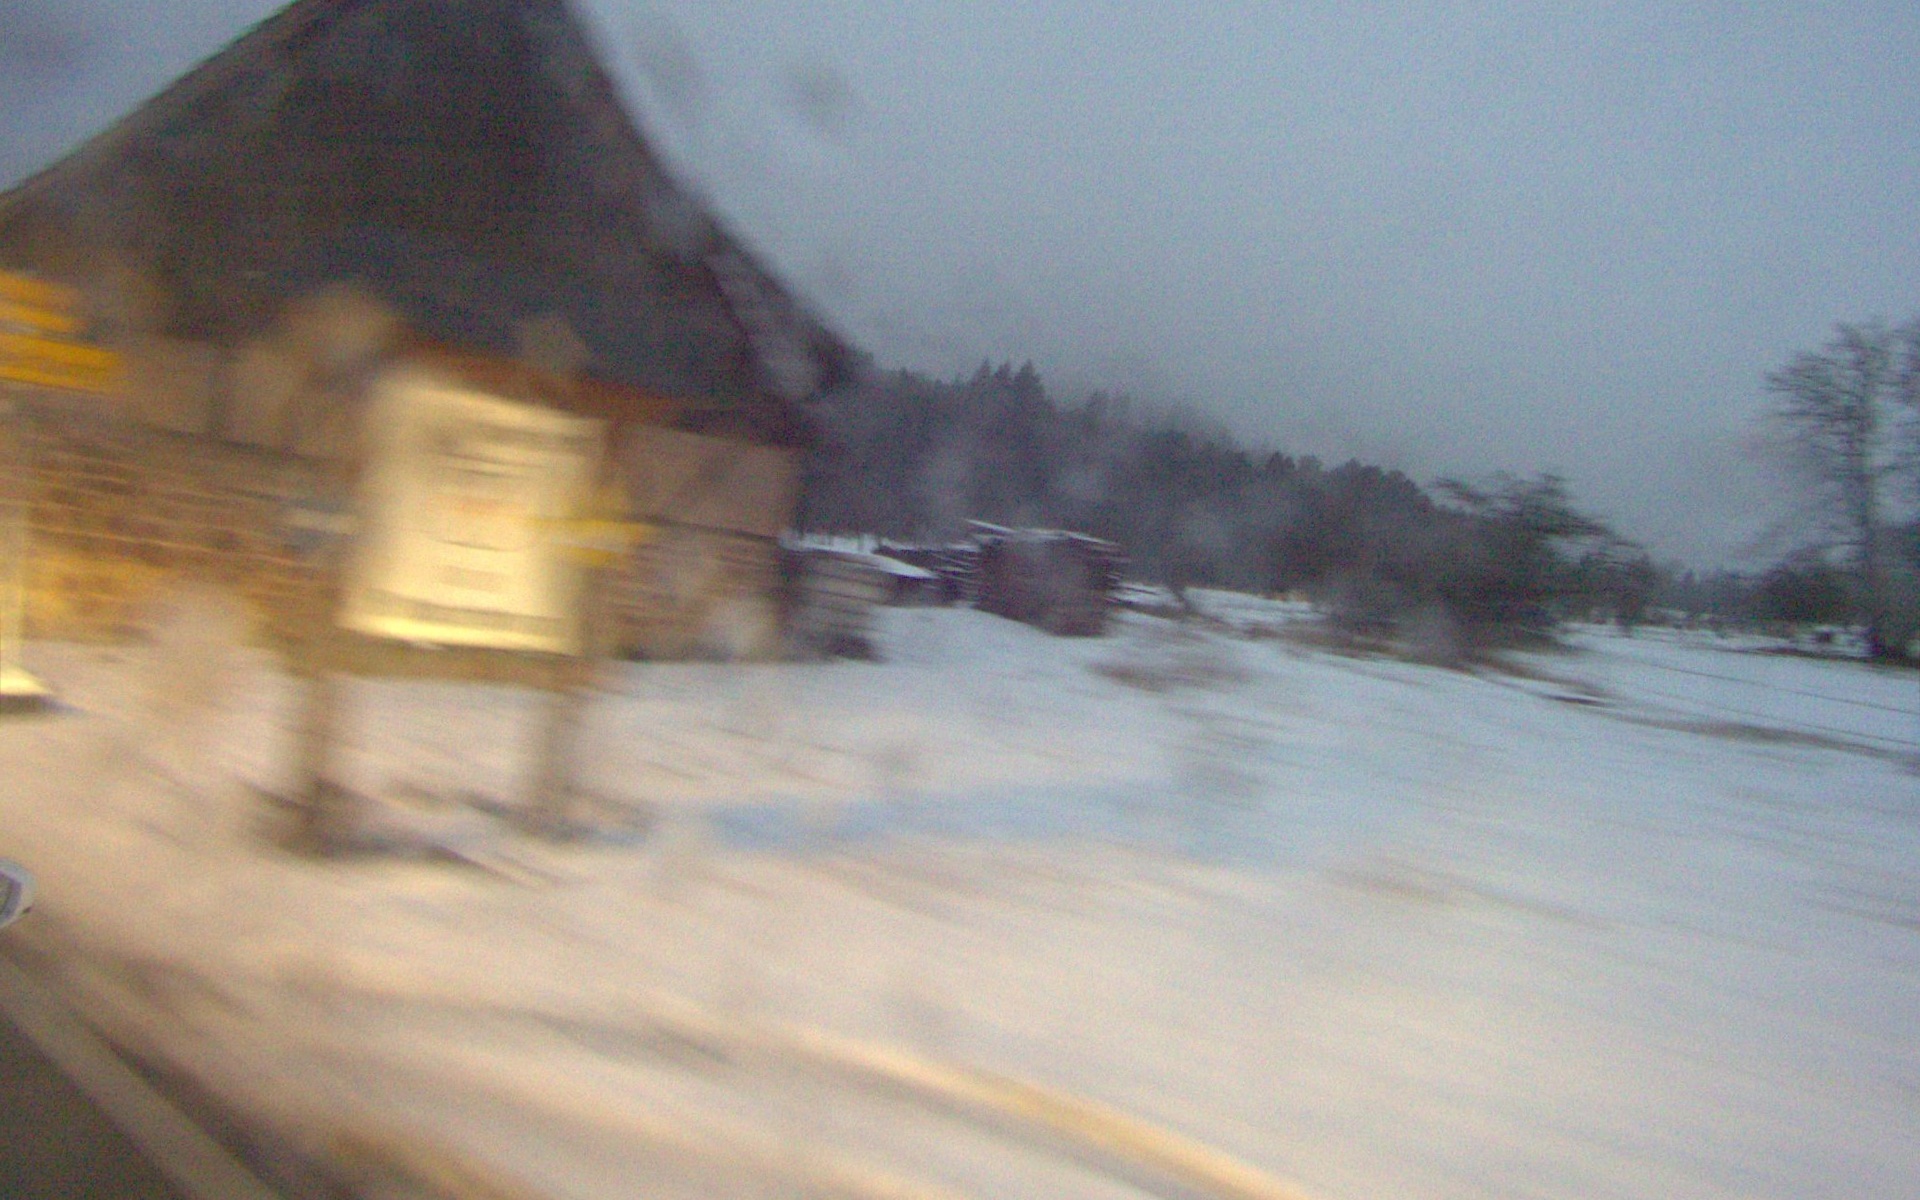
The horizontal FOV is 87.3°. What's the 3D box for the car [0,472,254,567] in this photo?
[{"bbox_3d":[-17.801,-1.659,21.249,1.834,1.681,4.385,8,5,38],"label":"car"}]
